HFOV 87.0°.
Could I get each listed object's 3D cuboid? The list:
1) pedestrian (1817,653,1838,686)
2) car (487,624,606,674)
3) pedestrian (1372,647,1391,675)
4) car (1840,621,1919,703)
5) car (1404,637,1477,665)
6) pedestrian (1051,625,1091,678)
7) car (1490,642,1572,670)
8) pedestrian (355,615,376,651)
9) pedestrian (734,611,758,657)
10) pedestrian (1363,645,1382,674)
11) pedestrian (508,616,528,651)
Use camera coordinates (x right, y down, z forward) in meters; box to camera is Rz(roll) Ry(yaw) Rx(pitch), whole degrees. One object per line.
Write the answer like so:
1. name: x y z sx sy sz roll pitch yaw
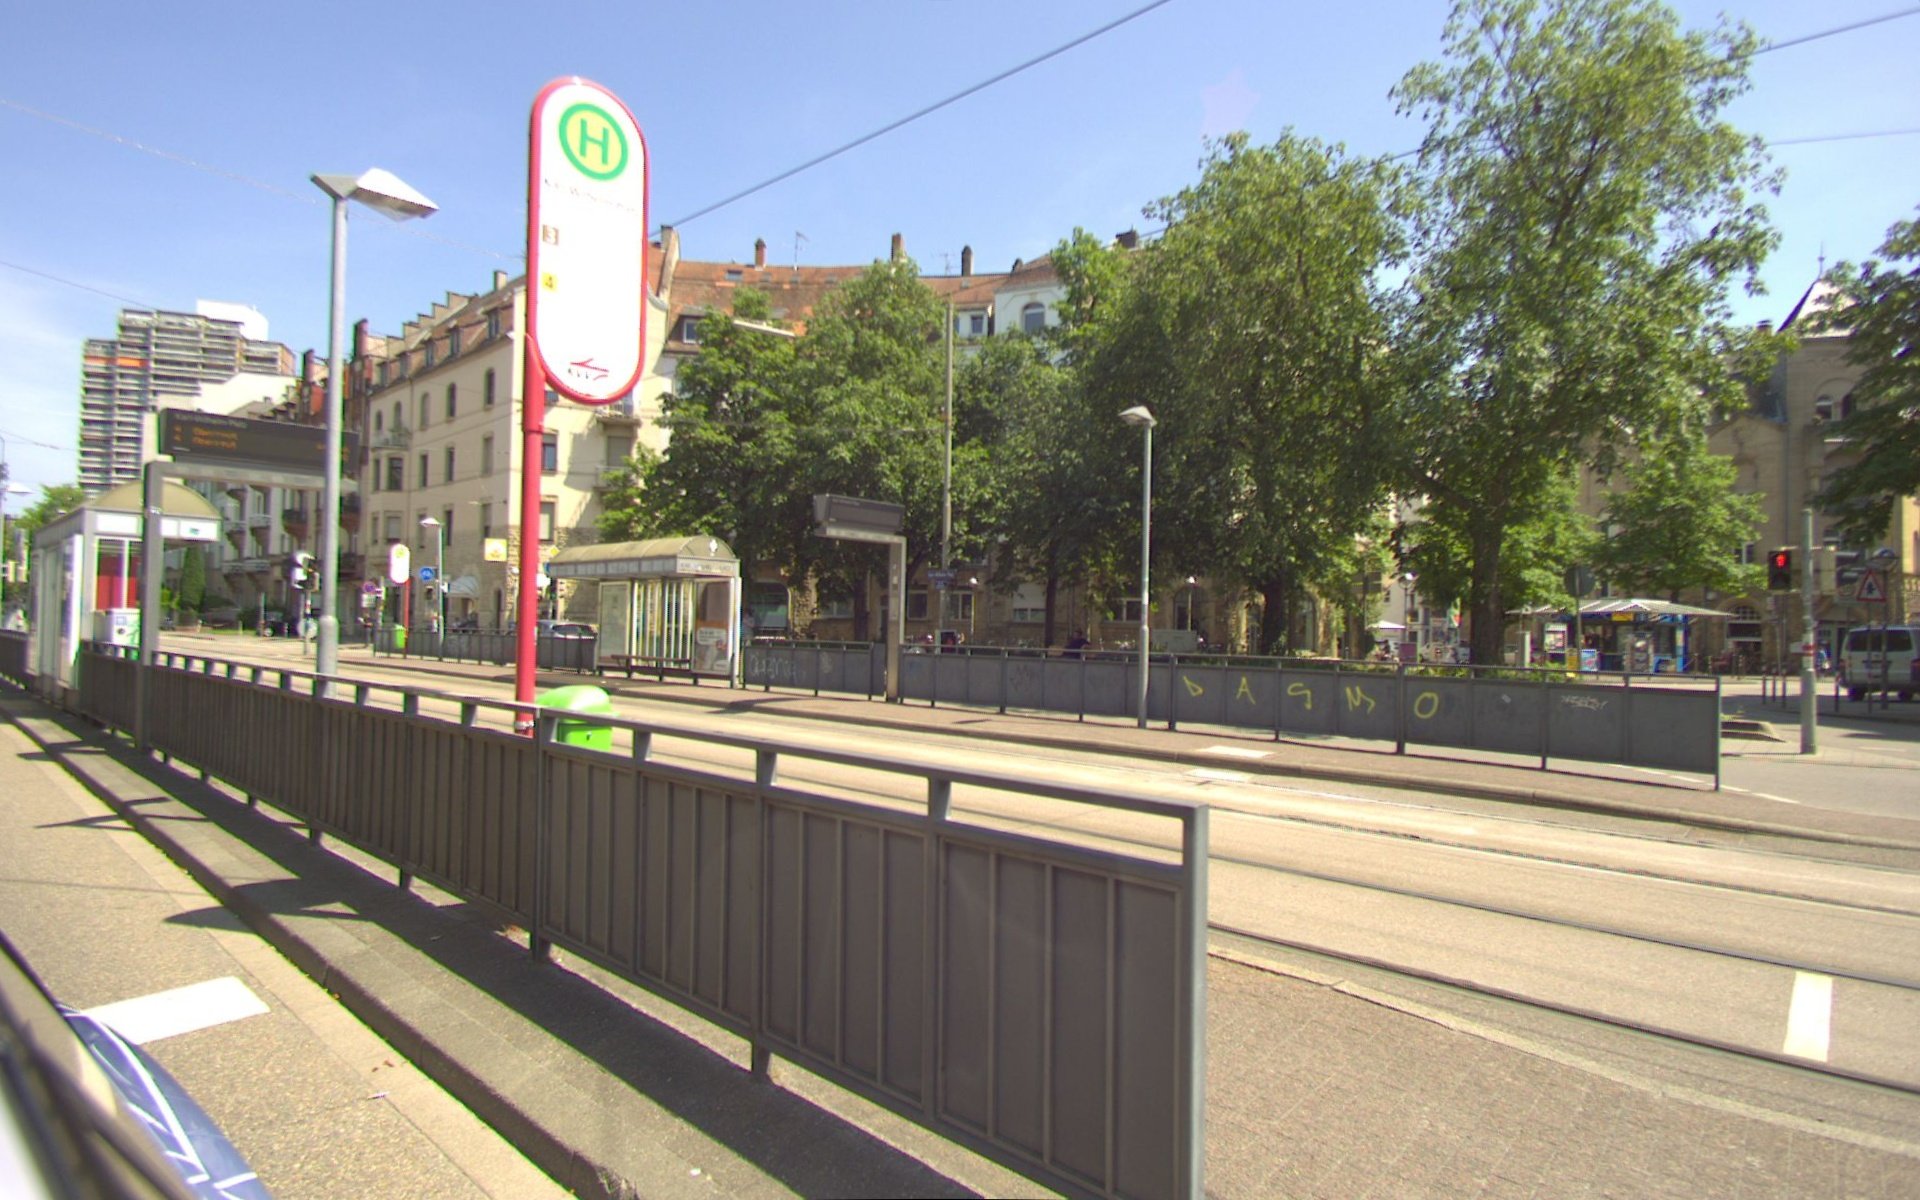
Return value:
1. pedestrian: 41.098 3.290 47.970 0.493 1.569 0.551 1 -2 -3
2. car: -12.079 1.402 29.465 3.848 1.320 1.674 -1 -3 42
3. pedestrian: 20.692 2.984 49.703 0.691 1.360 0.605 3 -3 -37
4. car: 25.833 1.644 27.070 4.510 2.082 2.006 2 -2 -28
5. car: 31.292 3.278 66.027 1.780 1.711 4.012 2 -2 -28
6. pedestrian: 2.850 1.308 26.005 0.811 1.327 0.653 3 -3 -42
7. car: 33.940 3.303 60.243 1.665 1.512 4.012 2 -2 -28
8. pedestrian: -28.487 1.588 48.479 0.796 1.733 0.765 2 -2 -32
9. pedestrian: -6.964 1.107 32.992 0.519 1.452 0.531 0 -3 32
10. pedestrian: 19.808 2.853 48.606 0.701 1.360 0.596 -1 -3 36
11. pedestrian: -18.471 1.412 42.337 0.519 1.452 0.531 0 -3 34
